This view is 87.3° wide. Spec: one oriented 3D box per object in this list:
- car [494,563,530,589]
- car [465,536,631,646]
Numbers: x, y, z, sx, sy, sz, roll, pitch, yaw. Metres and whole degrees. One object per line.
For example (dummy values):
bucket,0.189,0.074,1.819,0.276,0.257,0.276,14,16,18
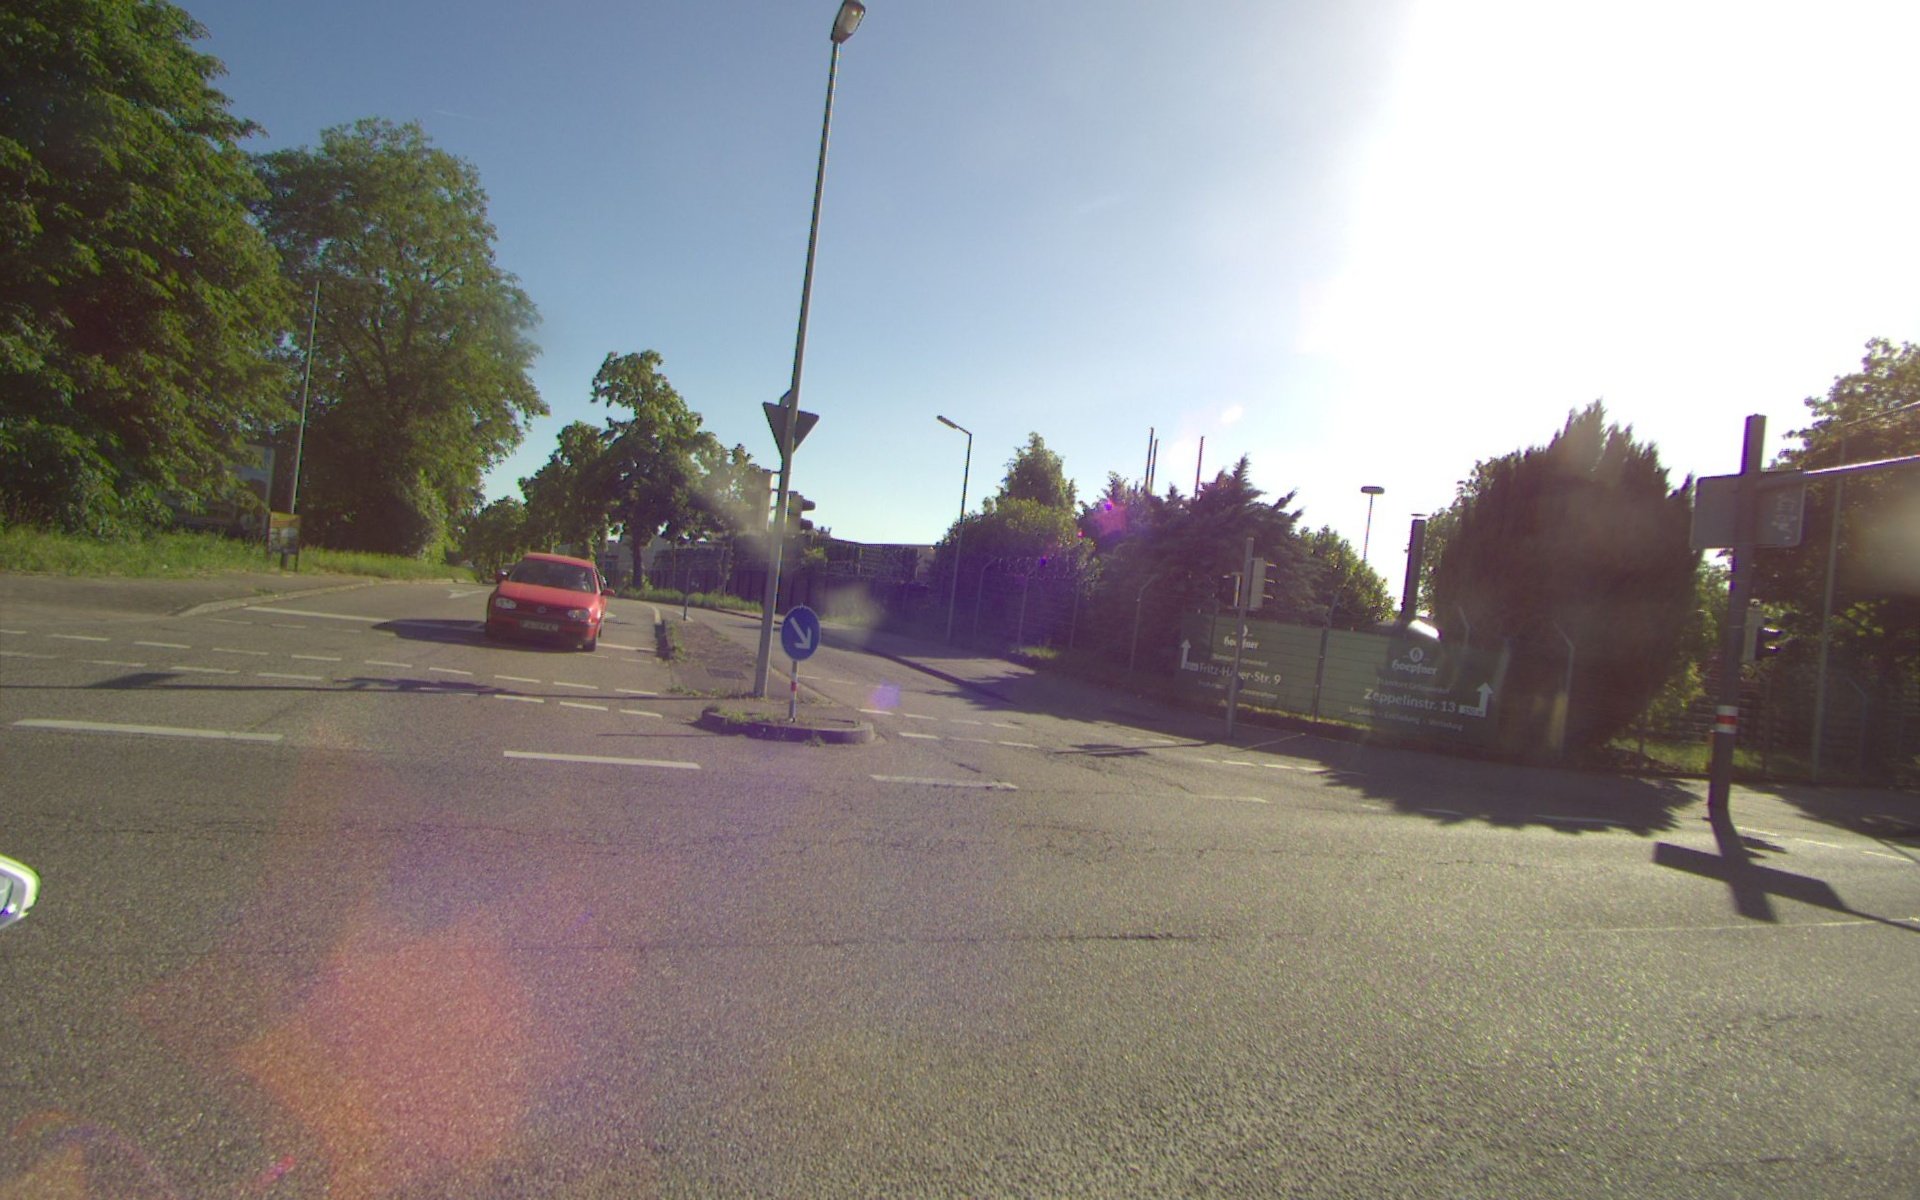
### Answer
car,-29.785,-1.599,66.838,1.841,1.487,4.112,7,-1,-27
car,-6.988,-0.178,17.519,1.833,1.488,4.128,6,0,-12
